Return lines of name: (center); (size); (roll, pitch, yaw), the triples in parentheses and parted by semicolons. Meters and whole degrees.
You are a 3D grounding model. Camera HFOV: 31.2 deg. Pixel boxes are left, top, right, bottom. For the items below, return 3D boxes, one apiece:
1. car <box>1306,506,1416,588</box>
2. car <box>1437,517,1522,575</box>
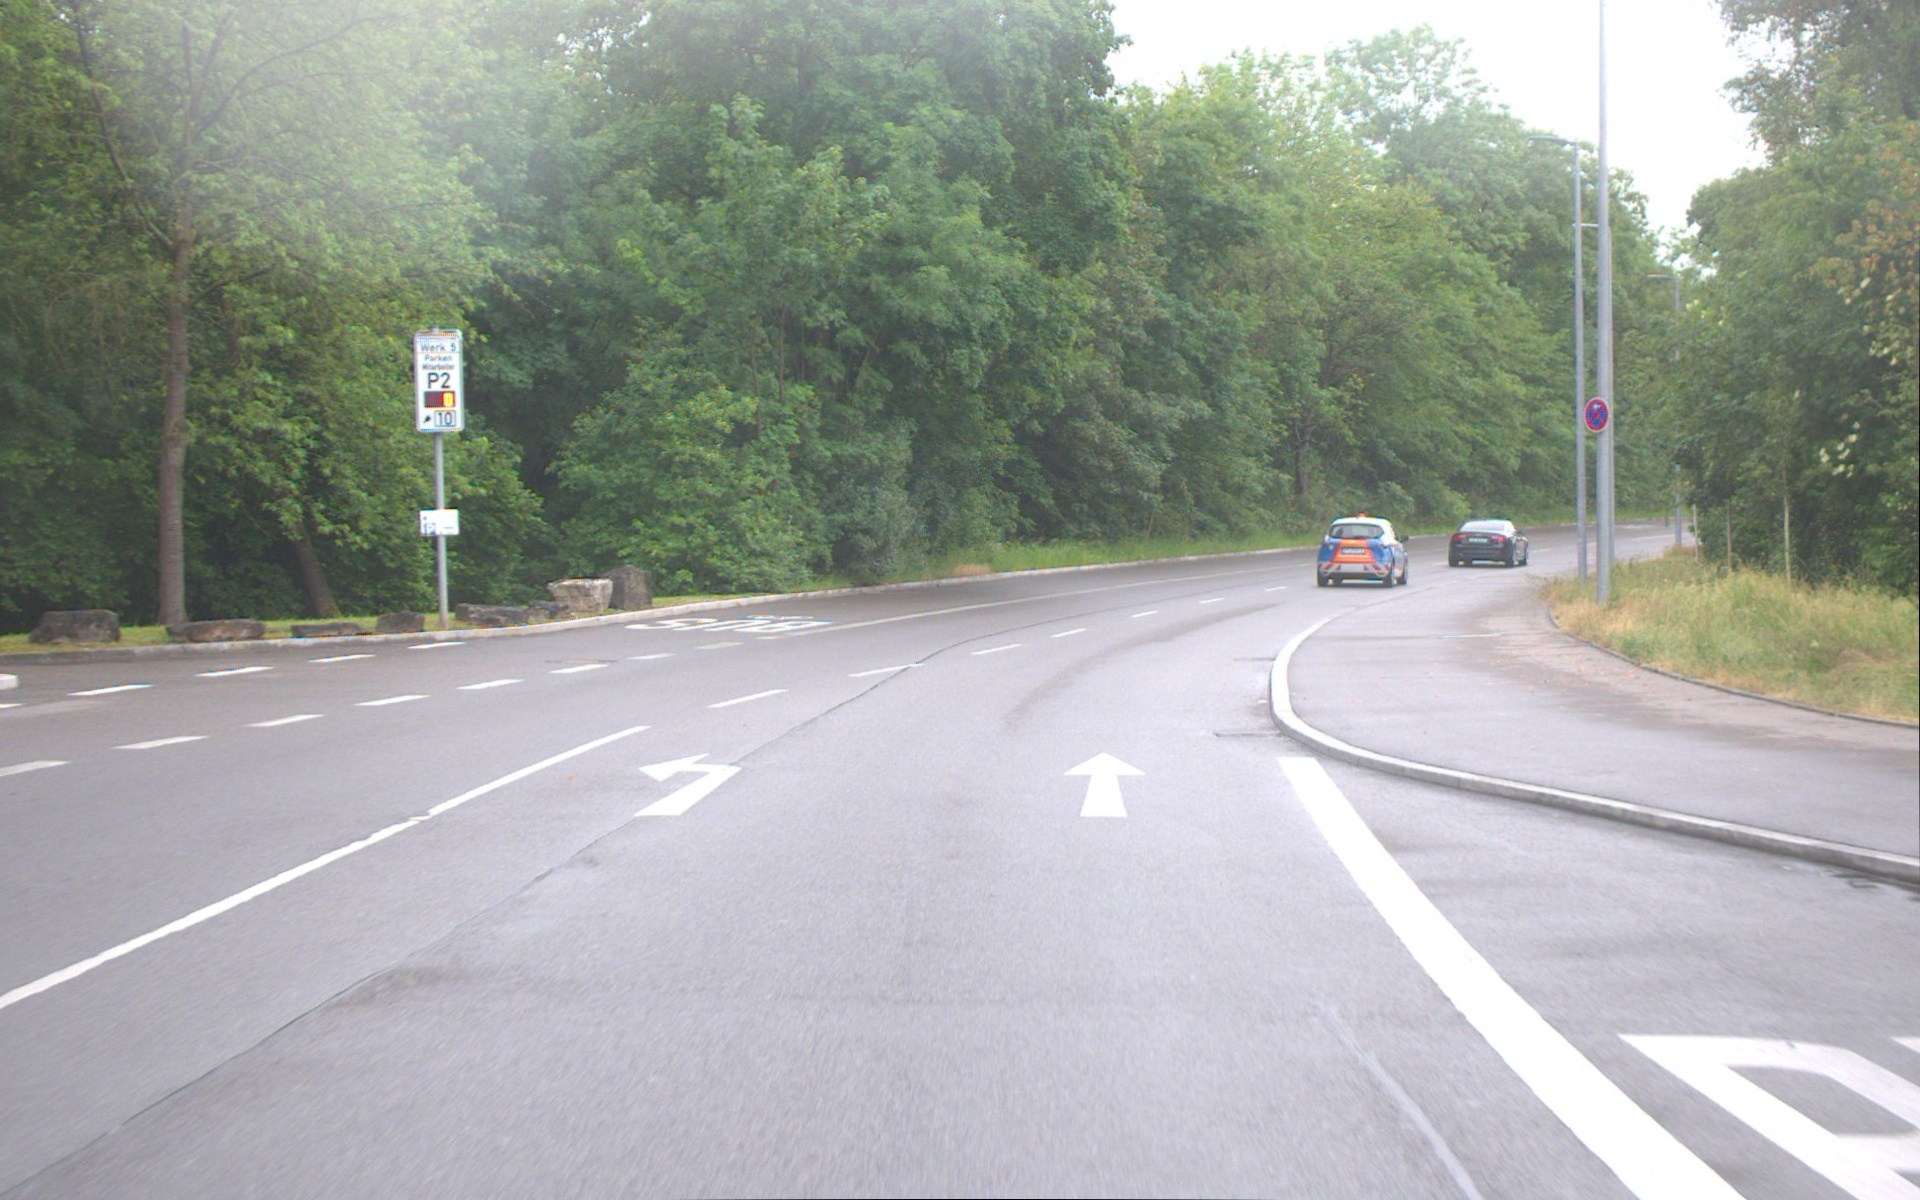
car: (9.211, -1.234, 78.742); (1.995, 1.683, 3.998); (-1, 3, 14)
car: (14.936, -1.568, 98.670); (1.928, 1.481, 3.797); (-1, 3, 16)
